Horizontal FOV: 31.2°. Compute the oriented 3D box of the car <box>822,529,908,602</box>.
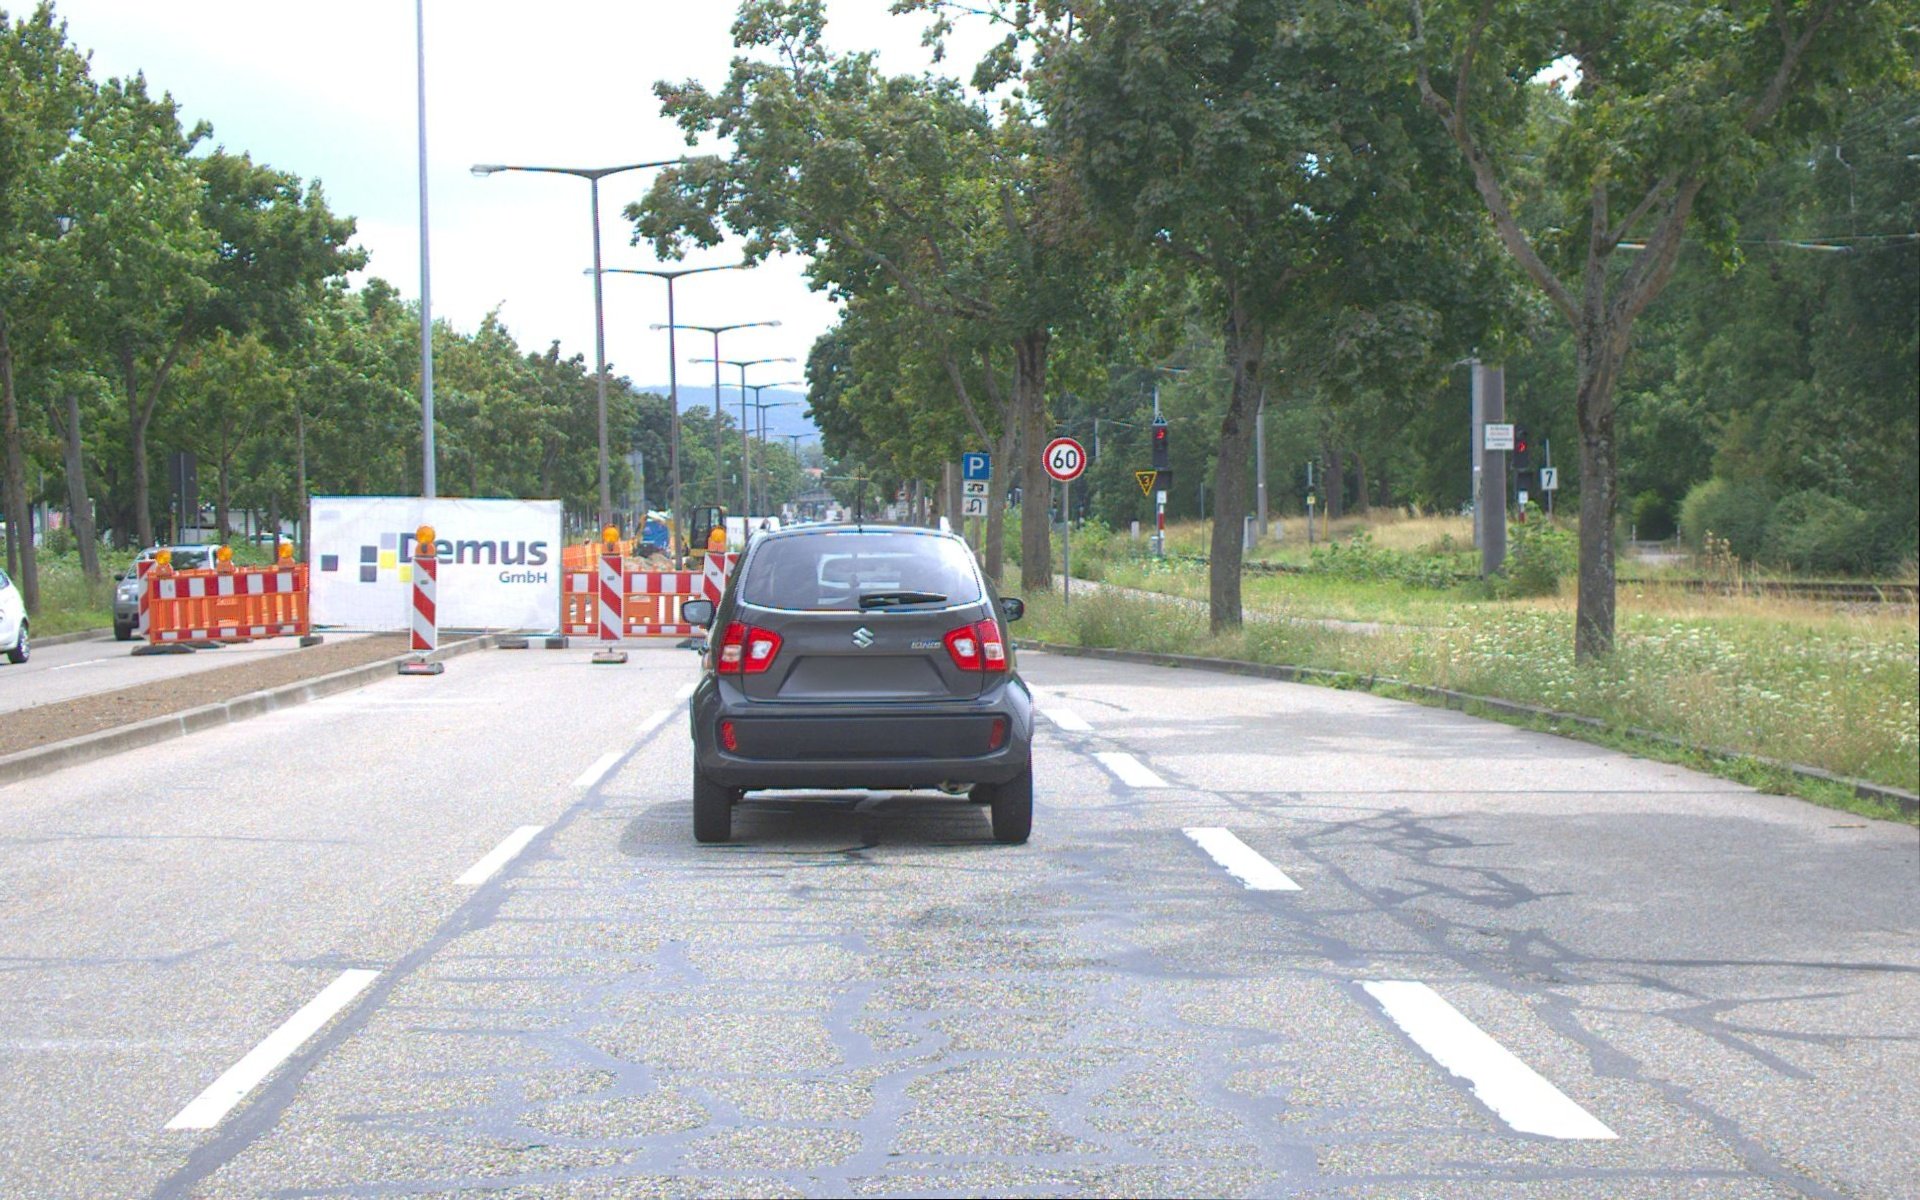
[{"bbox_3d":[-2.137,-0.808,78.174,1.793,1.556,4.000,-1,2,0],"label":"car"}]

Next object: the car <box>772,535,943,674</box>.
[{"bbox_3d":[-1.222,0.007,39.527,1.766,1.459,4.001,-1,2,-4],"label":"car"}]

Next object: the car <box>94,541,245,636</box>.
[{"bbox_3d":[-13.438,-0.225,58.617,1.703,1.472,4.001,-2,2,-2],"label":"car"}]

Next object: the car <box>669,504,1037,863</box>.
[{"bbox_3d":[-0.579,0.340,18.036,1.703,1.663,4.001,0,1,-2],"label":"car"}]

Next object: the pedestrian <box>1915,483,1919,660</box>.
[{"bbox_3d":[9.527,-0.266,32.463,0.690,1.689,0.934,-1,2,-6],"label":"pedestrian"}]

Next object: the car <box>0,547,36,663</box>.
[{"bbox_3d":[-13.275,0.108,44.323,1.690,1.472,4.001,-2,2,-2],"label":"car"}]
